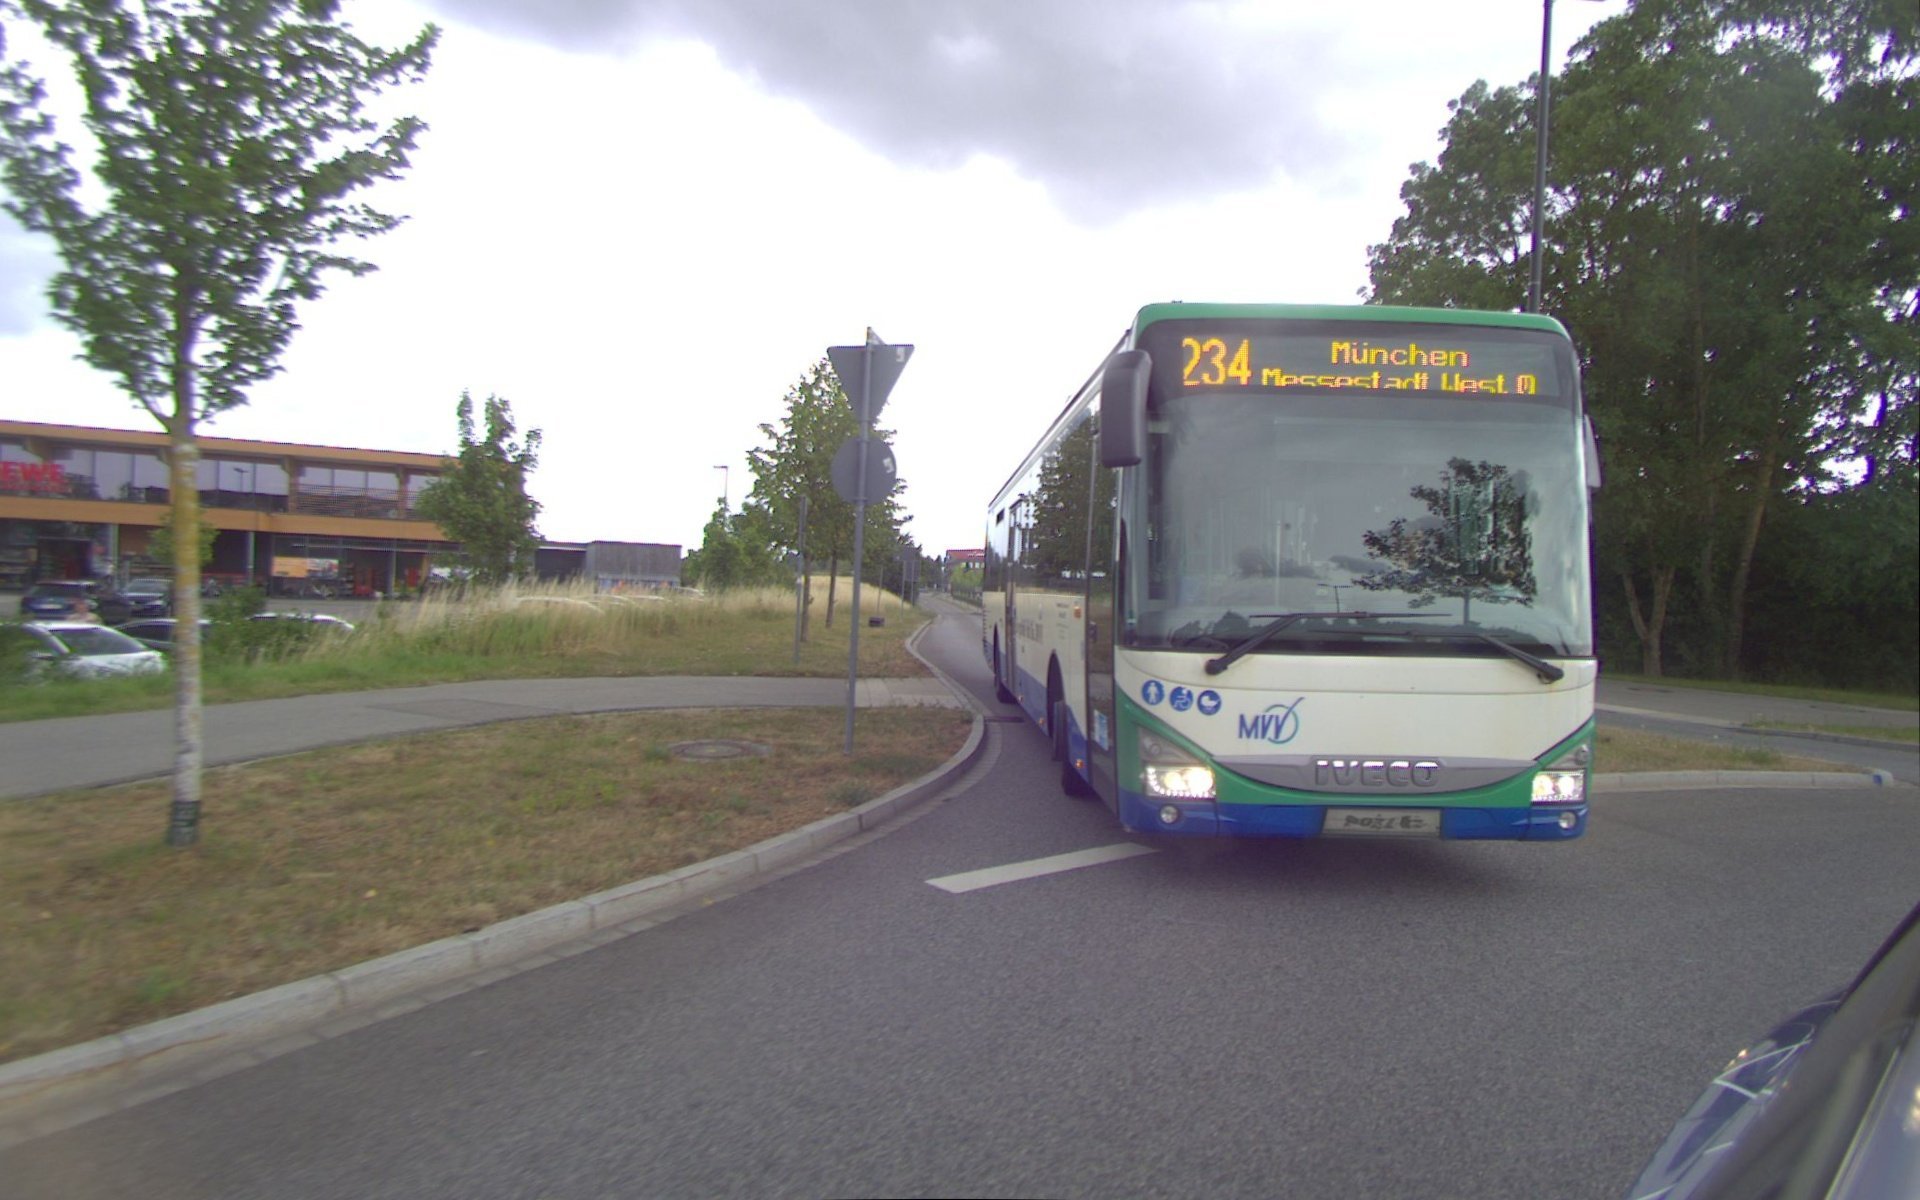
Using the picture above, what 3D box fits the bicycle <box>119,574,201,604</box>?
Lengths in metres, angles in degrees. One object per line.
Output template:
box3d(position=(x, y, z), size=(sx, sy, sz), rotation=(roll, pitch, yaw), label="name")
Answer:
box3d(position=(-37.220, -0.511, 47.139), size=(2.810, 1.325, 0.982), rotation=(1, 1, -24), label="bicycle")

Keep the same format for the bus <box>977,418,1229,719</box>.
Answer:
box3d(position=(1.647, -0.399, 14.076), size=(2.476, 3.299, 5.464), rotation=(1, 1, -2), label="bus")

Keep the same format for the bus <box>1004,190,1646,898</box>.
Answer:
box3d(position=(1.882, -0.315, 8.085), size=(2.476, 3.299, 6.552), rotation=(1, 1, -2), label="bus")

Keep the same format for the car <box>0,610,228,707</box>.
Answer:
box3d(position=(-15.772, 0.998, 18.076), size=(3.922, 1.527, 2.002), rotation=(1, 1, -3), label="car")

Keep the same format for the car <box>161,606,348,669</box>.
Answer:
box3d(position=(-16.680, 0.859, 23.995), size=(3.613, 1.310, 1.413), rotation=(2, 1, 7), label="car")

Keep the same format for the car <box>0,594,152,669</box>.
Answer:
box3d(position=(-18.345, 0.580, 19.805), size=(3.602, 1.310, 1.719), rotation=(1, 1, -6), label="car")

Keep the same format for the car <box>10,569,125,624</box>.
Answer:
box3d(position=(-28.066, -0.143, 31.947), size=(1.680, 1.588, 3.678), rotation=(1, 2, -24), label="car")
